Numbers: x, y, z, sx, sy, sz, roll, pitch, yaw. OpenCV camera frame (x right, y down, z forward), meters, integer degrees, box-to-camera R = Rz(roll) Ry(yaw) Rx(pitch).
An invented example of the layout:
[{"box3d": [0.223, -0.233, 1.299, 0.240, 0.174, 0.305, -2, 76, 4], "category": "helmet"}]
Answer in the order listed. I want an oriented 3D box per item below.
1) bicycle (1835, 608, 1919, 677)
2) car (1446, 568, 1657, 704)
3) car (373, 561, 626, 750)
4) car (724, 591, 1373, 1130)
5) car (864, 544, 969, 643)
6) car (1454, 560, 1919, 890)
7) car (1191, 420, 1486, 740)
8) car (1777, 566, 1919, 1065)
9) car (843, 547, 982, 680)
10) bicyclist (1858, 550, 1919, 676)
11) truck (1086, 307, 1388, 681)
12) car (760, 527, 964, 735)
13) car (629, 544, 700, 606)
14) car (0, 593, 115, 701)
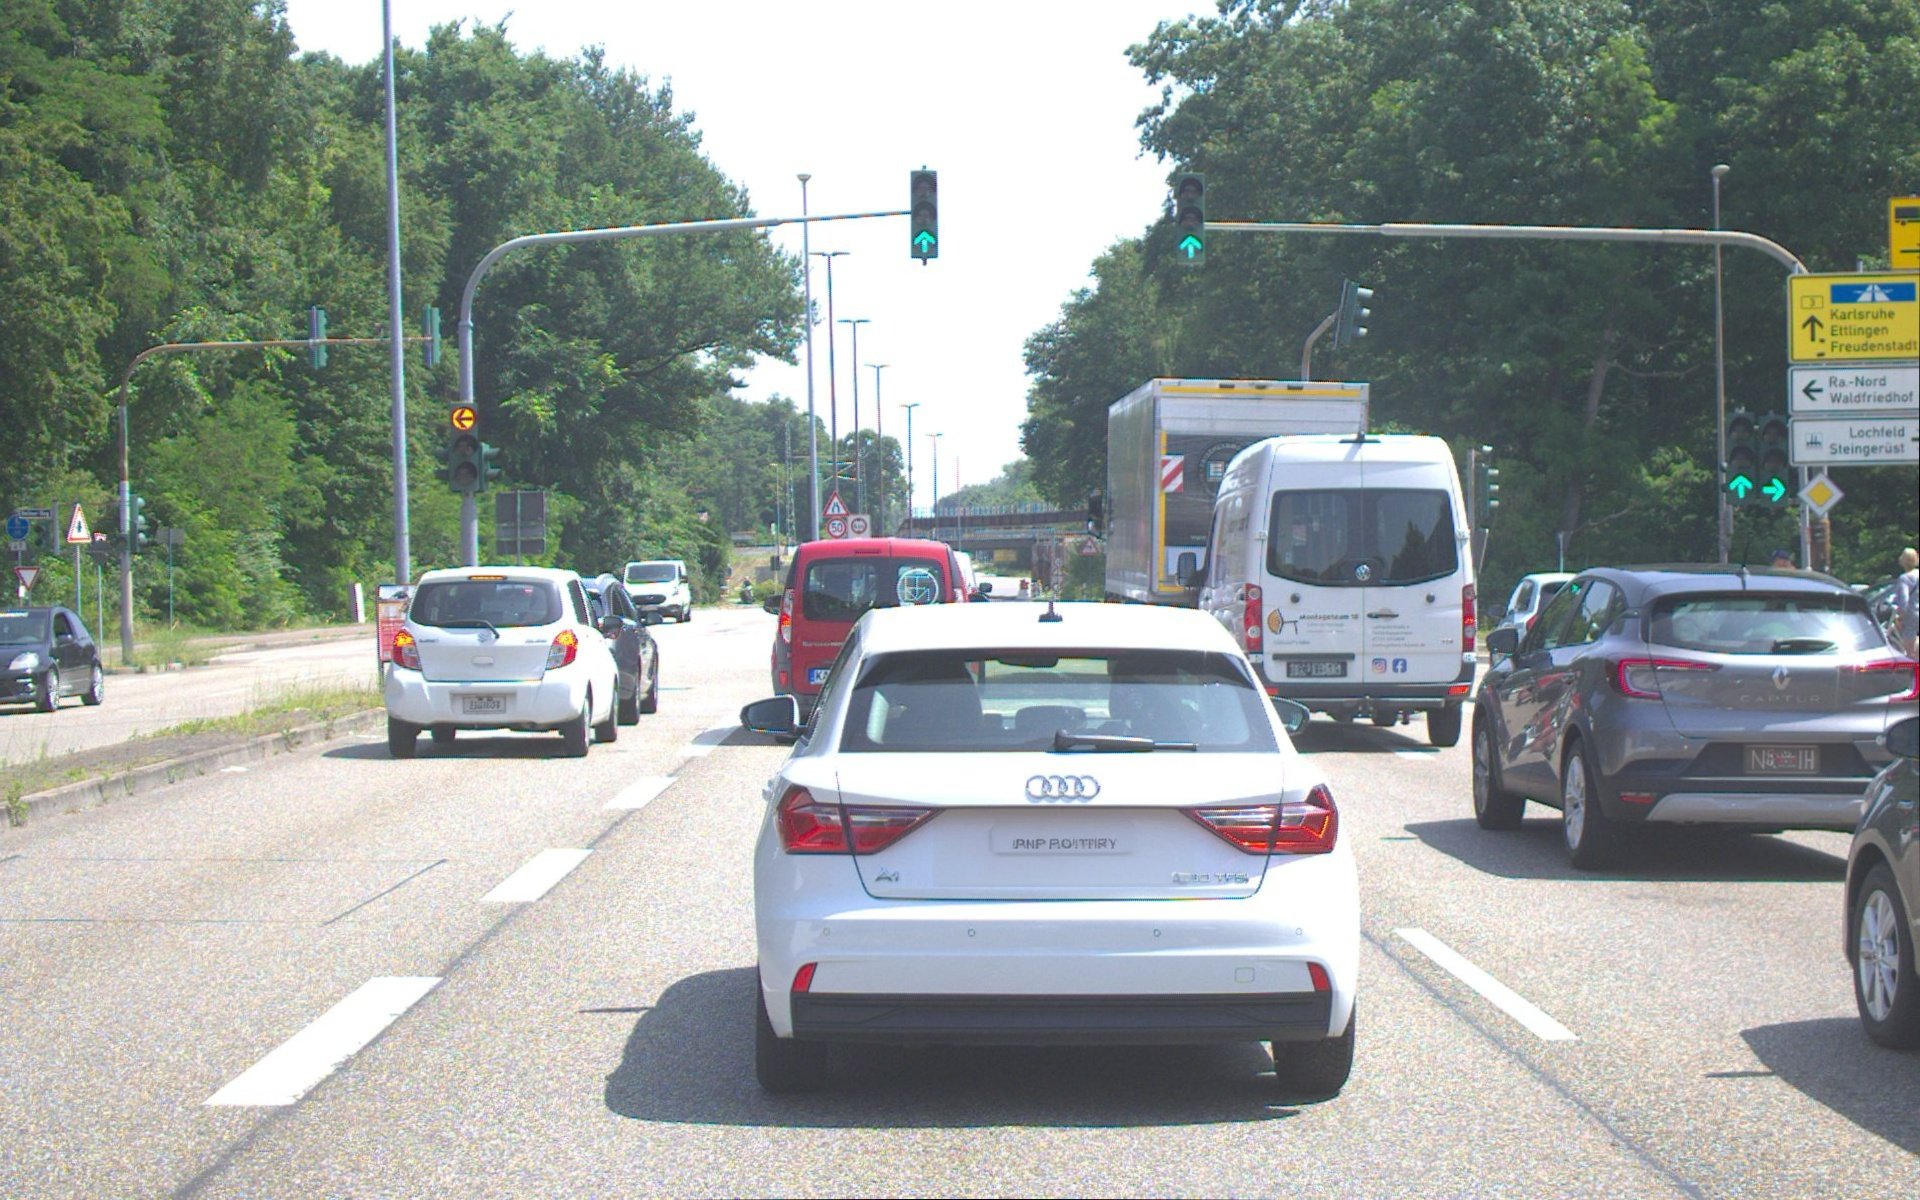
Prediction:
[{"box3d": [11.004, 0.484, 39.434, 0.599, 0.763, 1.826, -2, 1, -45], "category": "bicycle"}, {"box3d": [7.034, 0.390, 41.229, 1.711, 1.541, 4.092, 0, 1, -2], "category": "car"}, {"box3d": [-3.821, 0.412, 29.092, 1.711, 1.487, 4.092, 0, 1, -2], "category": "car"}, {"box3d": [0.175, 0.680, 11.115, 1.711, 1.381, 4.092, 0, 1, -2], "category": "car"}, {"box3d": [-0.766, -0.131, 58.530, 1.711, 1.626, 4.092, 0, 1, -2], "category": "car"}, {"box3d": [3.882, 0.579, 18.629, 1.711, 1.588, 4.092, 0, 1, -2], "category": "car"}, {"box3d": [3.281, -0.193, 30.747, 2.031, 2.635, 4.845, 0, 1, -1], "category": "car"}, {"box3d": [3.735, 0.681, 9.706, 1.711, 1.473, 4.092, 3, 1, -2], "category": "car"}, {"box3d": [-0.652, 0.142, 44.397, 1.711, 1.626, 4.092, 0, 1, -2], "category": "car"}, {"box3d": [10.876, 0.144, 39.551, 0.597, 1.434, 0.828, -2, 1, -45], "category": "bicyclist"}, {"box3d": [3.502, -1.323, 46.596, 3.088, 4.419, 11.580, 0, 1, 0], "category": "truck"}, {"box3d": [-0.887, 0.236, 30.963, 1.711, 1.742, 4.092, 0, 1, -2], "category": "car"}, {"box3d": [-9.131, -0.780, 106.424, 1.872, 1.854, 4.000, -1, 1, -1], "category": "car"}, {"box3d": [-12.882, 0.657, 46.632, 1.804, 1.331, 4.000, -4, 1, -1], "category": "car"}]
